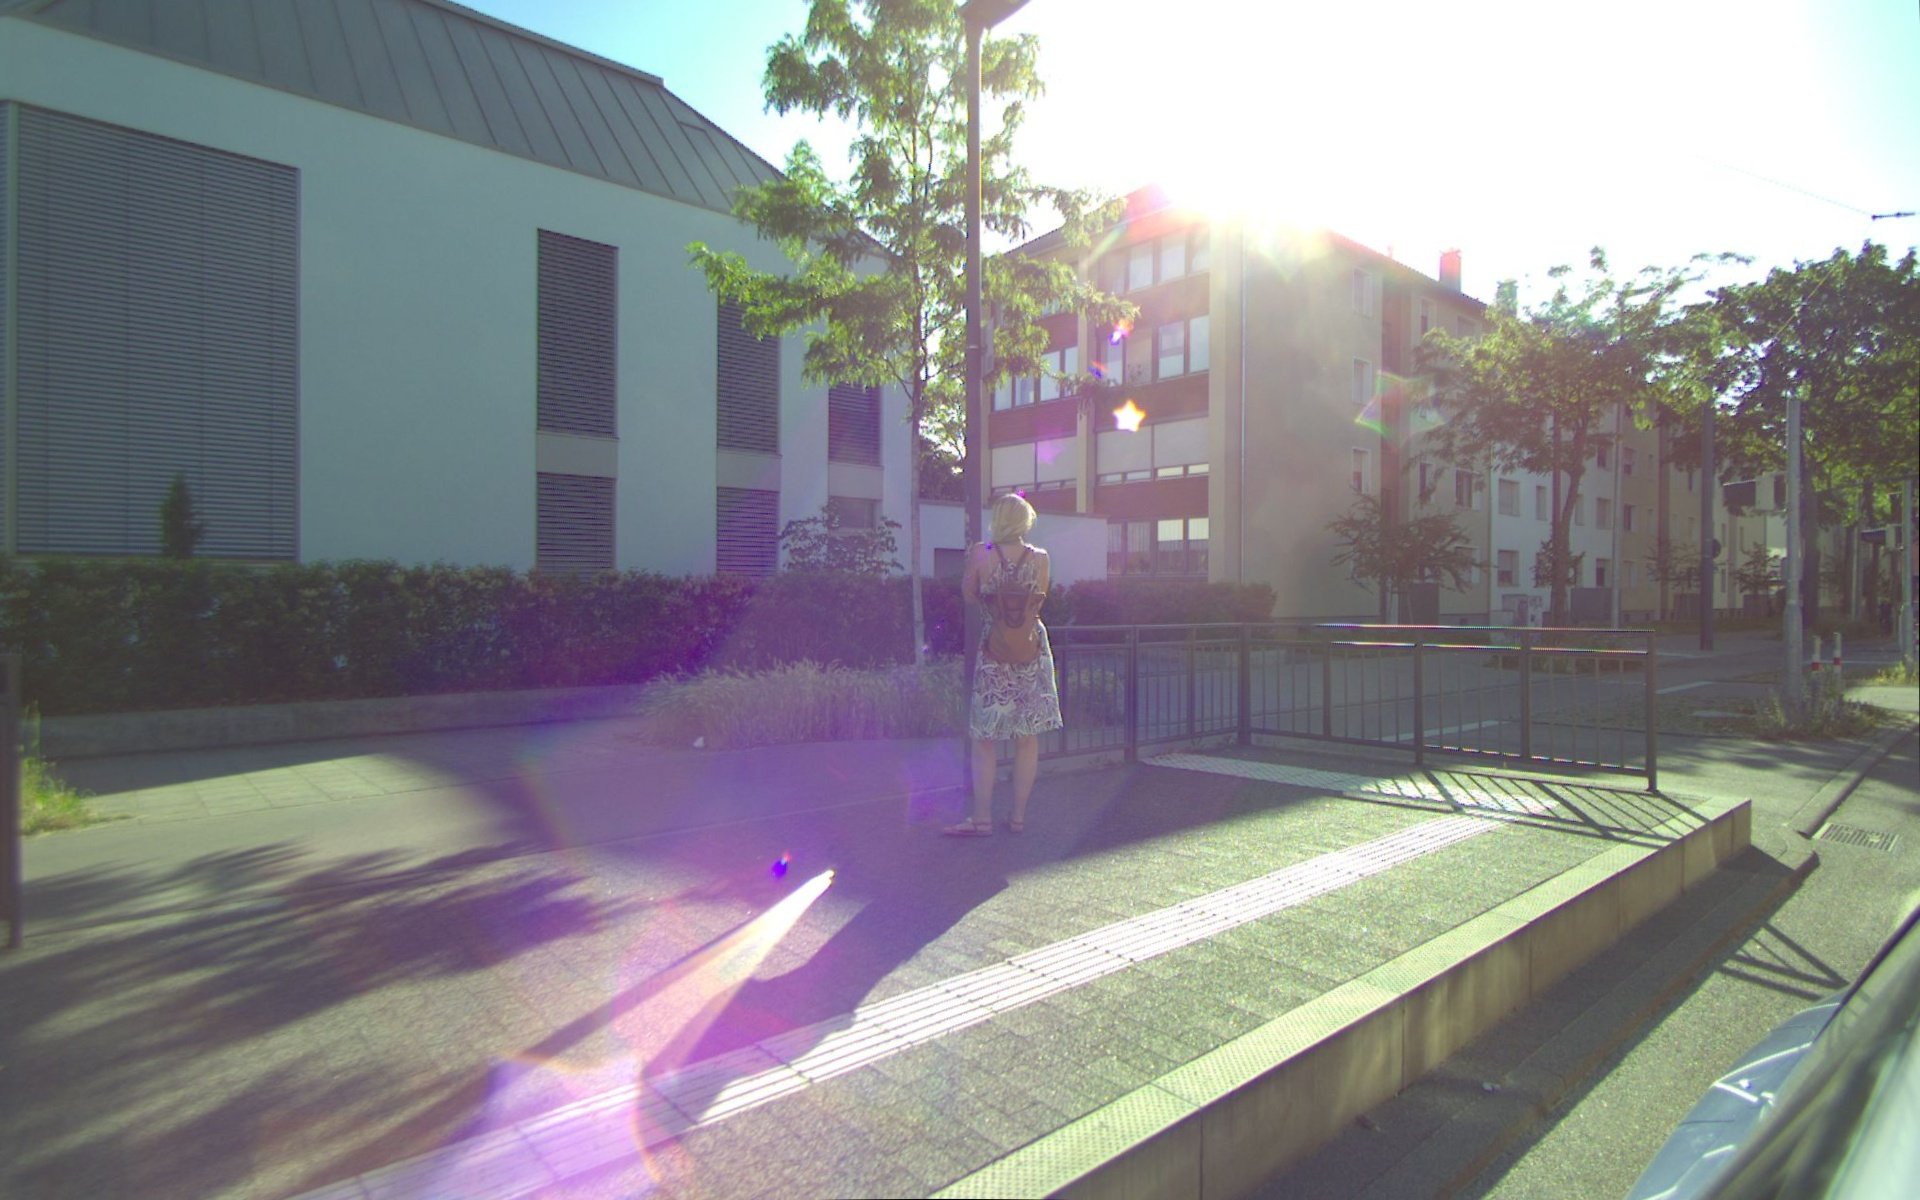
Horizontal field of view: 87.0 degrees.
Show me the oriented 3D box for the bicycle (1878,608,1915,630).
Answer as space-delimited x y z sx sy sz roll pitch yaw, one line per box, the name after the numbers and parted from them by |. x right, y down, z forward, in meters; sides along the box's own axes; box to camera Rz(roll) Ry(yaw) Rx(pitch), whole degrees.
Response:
41.142 0.816 44.449 2.157 0.897 0.827 0 1 -37 | bicycle

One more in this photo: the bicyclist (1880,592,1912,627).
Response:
41.088 0.396 44.400 1.235 1.518 0.819 0 0 -37 | bicyclist

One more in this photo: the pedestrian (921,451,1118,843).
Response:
0.288 0.206 4.948 0.679 1.726 0.672 0 -1 -42 | pedestrian
